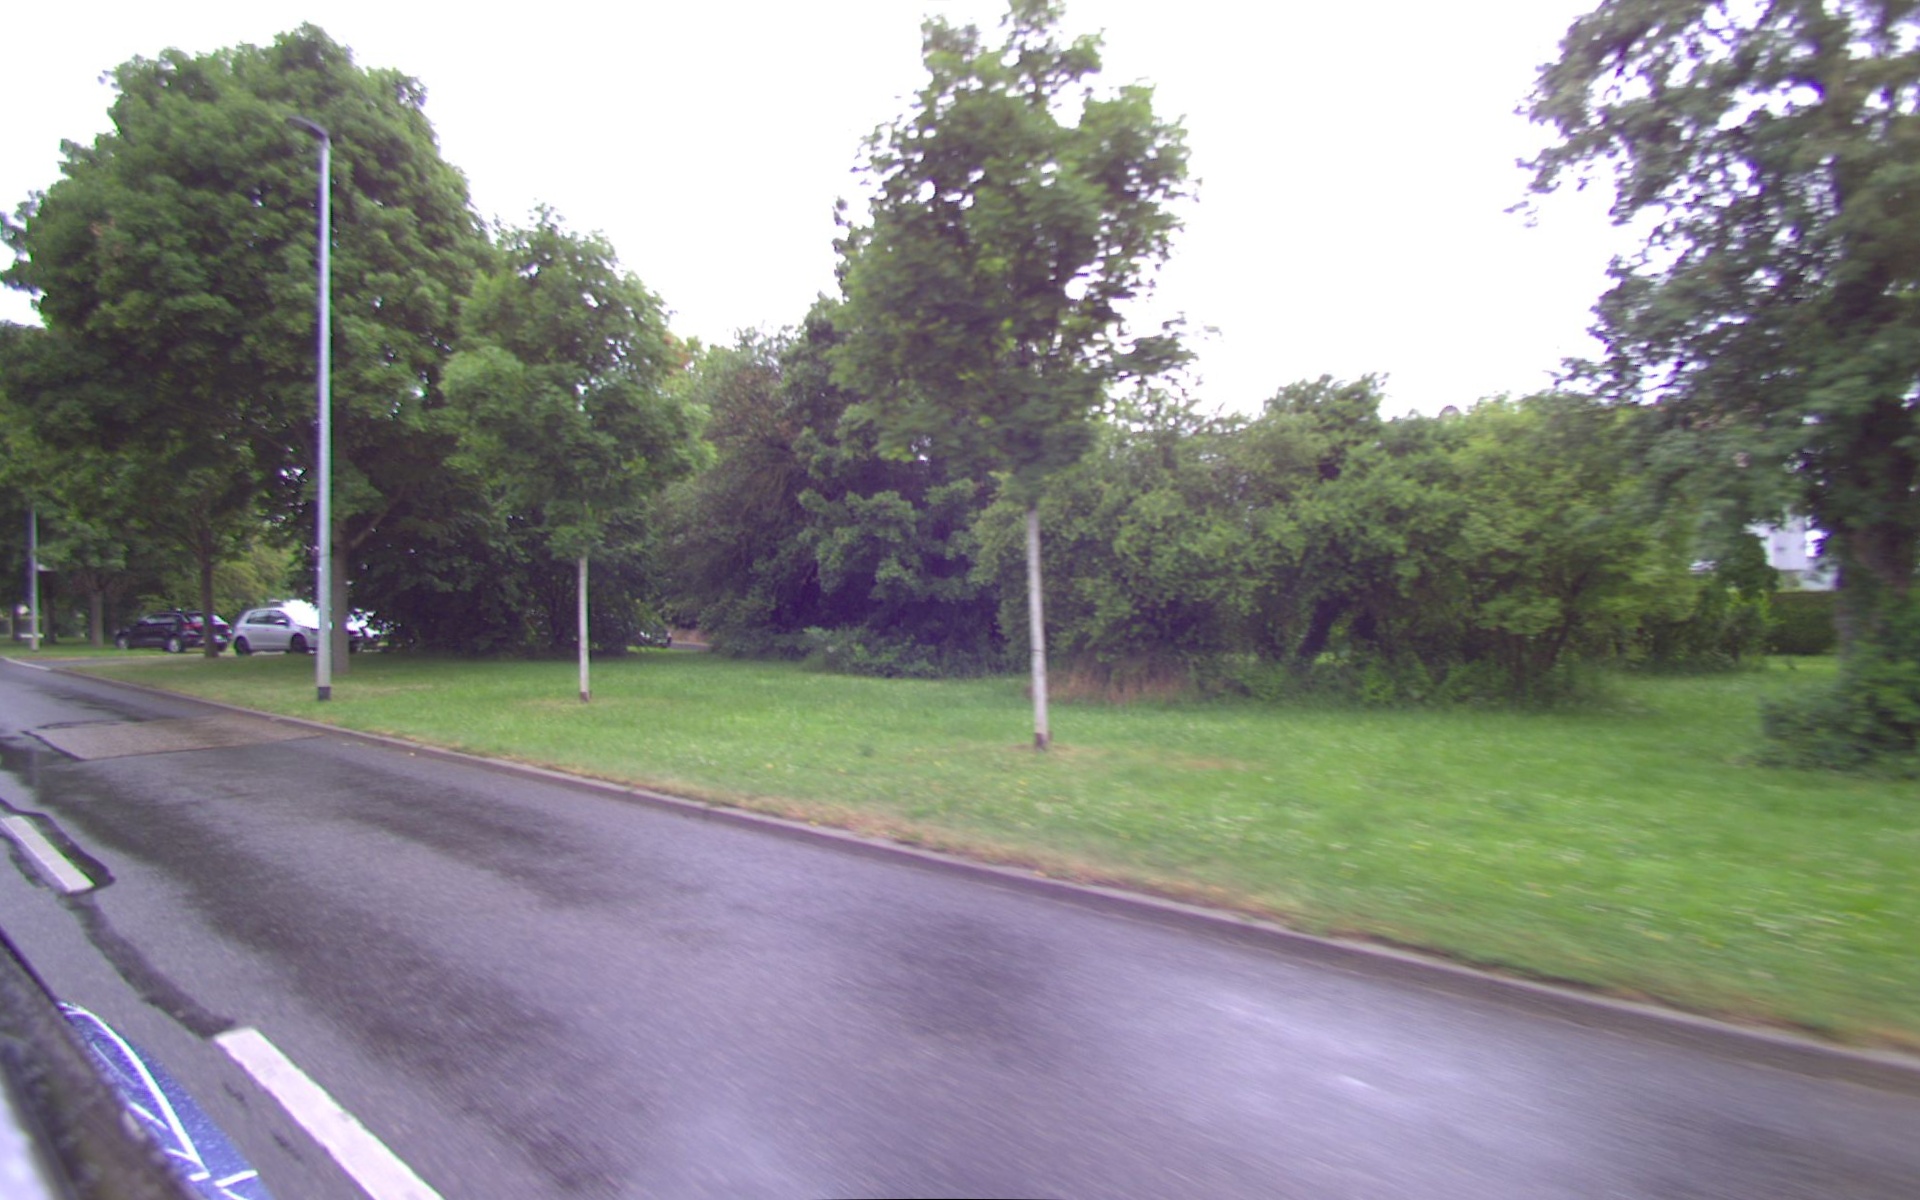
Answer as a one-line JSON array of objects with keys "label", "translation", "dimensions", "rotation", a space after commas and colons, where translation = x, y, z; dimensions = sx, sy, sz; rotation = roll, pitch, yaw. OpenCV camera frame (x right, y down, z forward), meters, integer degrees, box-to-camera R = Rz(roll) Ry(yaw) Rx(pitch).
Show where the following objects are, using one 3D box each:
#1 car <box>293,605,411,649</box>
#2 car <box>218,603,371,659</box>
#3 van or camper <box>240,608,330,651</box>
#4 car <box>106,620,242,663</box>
[{"label": "car", "translation": [-26.687, 1.158, 44.430], "dimensions": [4.864, 1.783, 1.896], "rotation": [1, 0, 21]}, {"label": "car", "translation": [-20.150, 0.954, 30.627], "dimensions": [4.190, 1.441, 1.872], "rotation": [-4, -2, 23]}, {"label": "van or camper", "translation": [-39.298, 1.722, 58.865], "dimensions": [6.134, 2.353, 2.073], "rotation": [-2, -1, 32]}, {"label": "car", "translation": [-28.990, 1.517, 37.349], "dimensions": [4.212, 1.525, 1.884], "rotation": [-1, -1, 17]}]
